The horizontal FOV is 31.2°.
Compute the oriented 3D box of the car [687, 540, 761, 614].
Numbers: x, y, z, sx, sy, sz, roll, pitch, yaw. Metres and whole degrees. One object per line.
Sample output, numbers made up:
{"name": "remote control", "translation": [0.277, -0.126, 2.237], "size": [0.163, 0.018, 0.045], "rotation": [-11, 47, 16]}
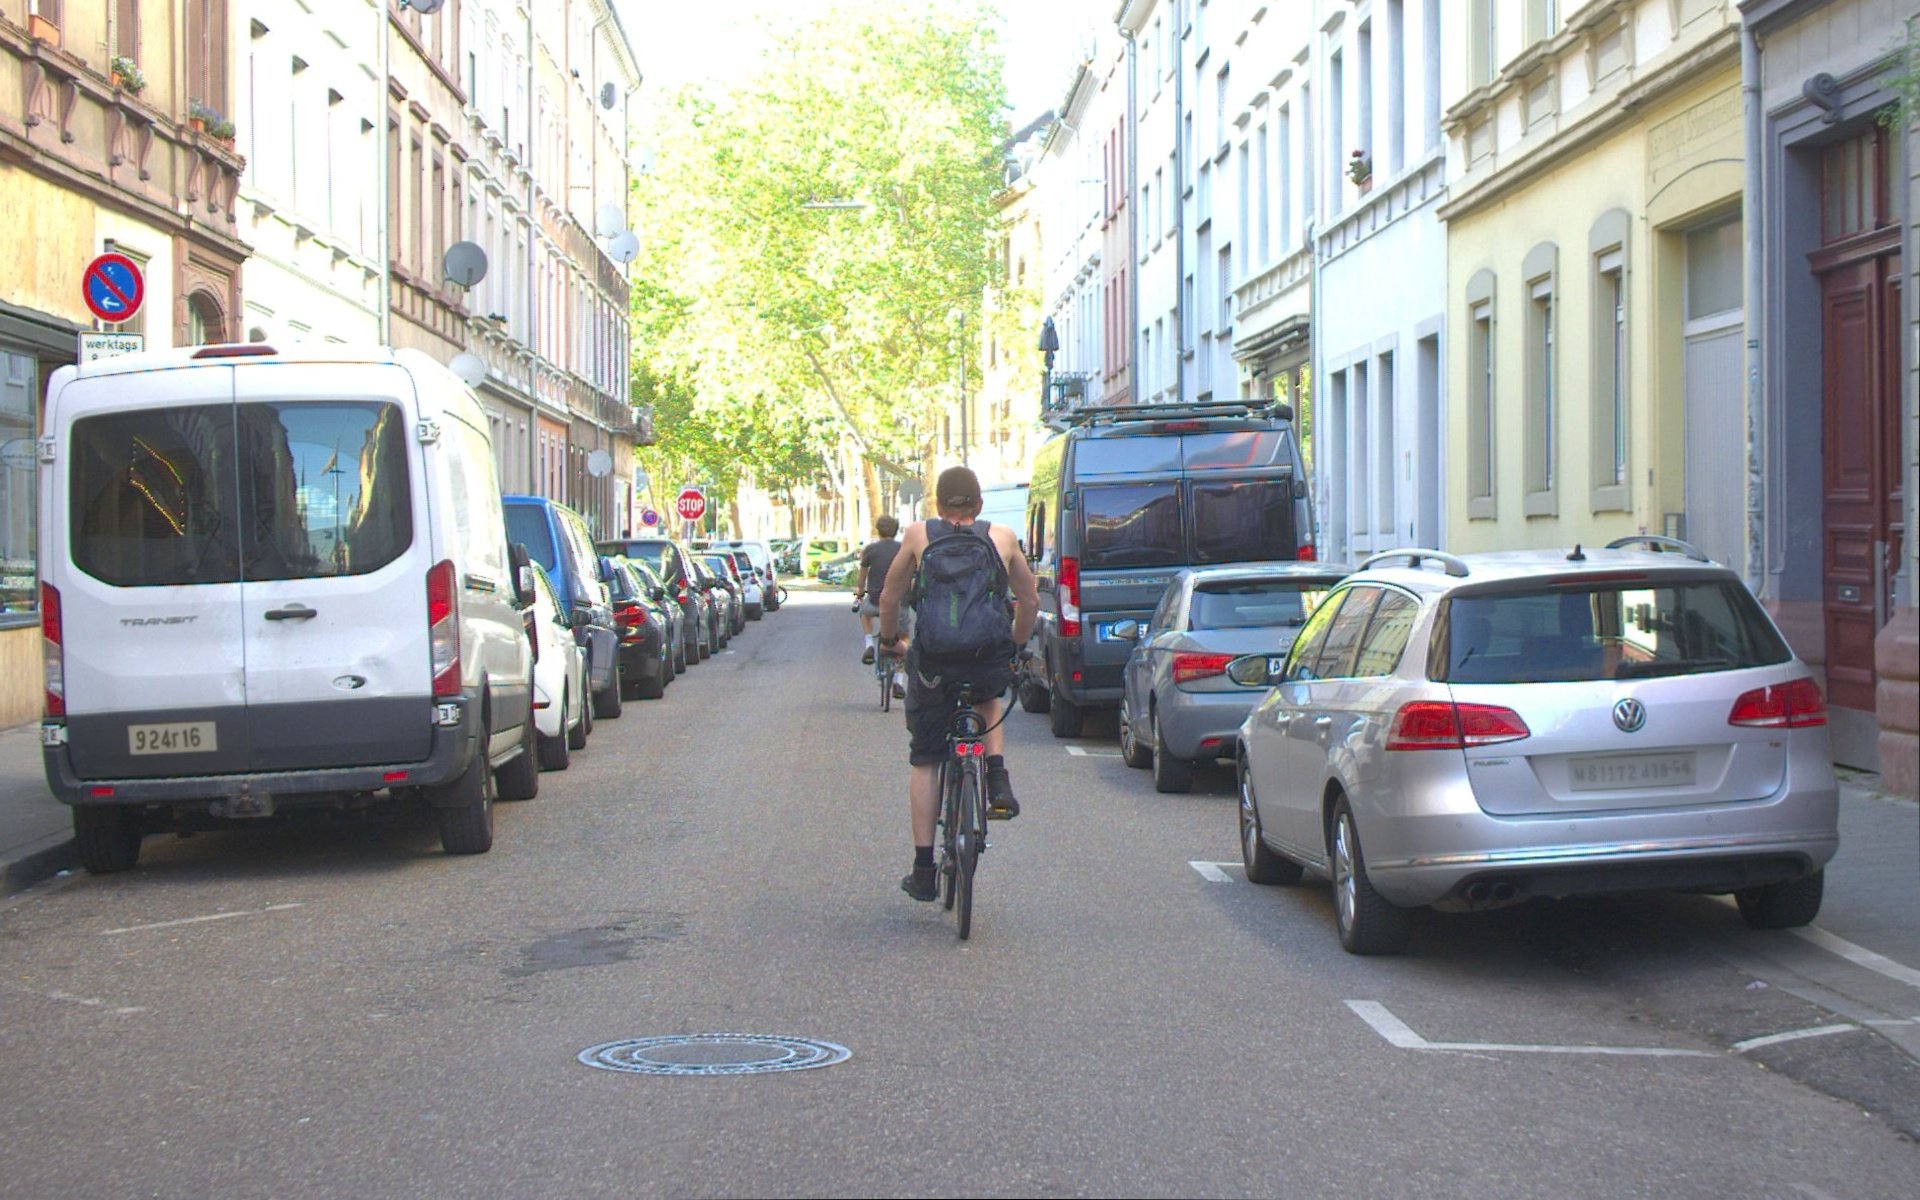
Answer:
{"name": "car", "translation": [-5.133, -0.527, 74.498], "size": [1.544, 1.545, 3.466], "rotation": [-1, 1, -5]}

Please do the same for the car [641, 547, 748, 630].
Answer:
{"name": "car", "translation": [-4.771, -0.239, 62.169], "size": [1.706, 1.409, 4.302], "rotation": [-1, 1, -2]}

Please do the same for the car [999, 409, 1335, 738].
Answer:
{"name": "car", "translation": [1.603, -0.260, 29.147], "size": [2.175, 2.417, 6.310], "rotation": [-2, 1, -2]}

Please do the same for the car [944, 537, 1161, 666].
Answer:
{"name": "car", "translation": [1.148, -0.027, 45.178], "size": [1.811, 1.473, 4.610], "rotation": [-4, 2, -11]}

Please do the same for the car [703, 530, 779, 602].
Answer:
{"name": "car", "translation": [-5.497, -0.876, 86.693], "size": [1.787, 1.731, 3.876], "rotation": [-1, 1, -2]}

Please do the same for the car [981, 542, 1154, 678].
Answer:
{"name": "car", "translation": [1.209, 0.072, 40.395], "size": [1.746, 1.480, 4.243], "rotation": [-1, 1, -2]}

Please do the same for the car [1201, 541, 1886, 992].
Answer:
{"name": "car", "translation": [2.172, 0.532, 14.103], "size": [1.786, 1.449, 4.548], "rotation": [-3, 1, -2]}

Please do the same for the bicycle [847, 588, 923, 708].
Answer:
{"name": "bicycle", "translation": [-0.697, 0.427, 31.658], "size": [0.664, 1.034, 1.959], "rotation": [-1, 1, -2]}

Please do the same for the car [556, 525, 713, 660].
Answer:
{"name": "car", "translation": [-4.424, -0.131, 47.157], "size": [1.801, 1.692, 4.000], "rotation": [-3, 1, -2]}

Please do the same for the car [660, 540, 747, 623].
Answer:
{"name": "car", "translation": [-4.981, -0.380, 67.125], "size": [1.604, 1.525, 3.379], "rotation": [-2, 1, -3]}

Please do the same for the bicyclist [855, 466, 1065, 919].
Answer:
{"name": "bicyclist", "translation": [-0.018, 0.336, 13.364], "size": [0.740, 1.673, 1.117], "rotation": [1, 1, -2]}

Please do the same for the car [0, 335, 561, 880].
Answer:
{"name": "car", "translation": [-3.496, -0.022, 18.800], "size": [2.168, 2.443, 5.922], "rotation": [-2, 1, -3]}

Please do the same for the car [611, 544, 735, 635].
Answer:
{"name": "car", "translation": [-4.734, -0.193, 57.109], "size": [1.674, 1.425, 3.888], "rotation": [-1, 1, 1]}

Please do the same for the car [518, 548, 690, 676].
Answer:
{"name": "car", "translation": [-4.215, 0.105, 41.202], "size": [1.736, 1.422, 4.000], "rotation": [-1, 1, -2]}

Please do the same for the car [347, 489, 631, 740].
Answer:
{"name": "car", "translation": [-3.935, 0.070, 29.447], "size": [1.827, 1.885, 4.614], "rotation": [-3, 1, -2]}

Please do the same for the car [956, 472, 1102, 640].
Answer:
{"name": "car", "translation": [1.072, -0.734, 55.666], "size": [2.204, 2.542, 6.036], "rotation": [-1, 1, 0]}

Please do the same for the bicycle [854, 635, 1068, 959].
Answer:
{"name": "bicycle", "translation": [-0.028, 0.721, 13.380], "size": [0.740, 1.097, 2.042], "rotation": [1, 1, -2]}

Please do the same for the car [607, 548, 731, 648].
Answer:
{"name": "car", "translation": [-4.382, -0.056, 52.140], "size": [1.592, 1.435, 3.654], "rotation": [-1, 1, -1]}

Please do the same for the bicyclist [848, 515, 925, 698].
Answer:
{"name": "bicyclist", "translation": [-0.679, 0.048, 31.687], "size": [0.669, 1.653, 0.877], "rotation": [-1, 1, -2]}

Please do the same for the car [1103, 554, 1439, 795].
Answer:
{"name": "car", "translation": [1.966, 0.423, 22.856], "size": [1.747, 1.439, 4.172], "rotation": [0, 1, -2]}

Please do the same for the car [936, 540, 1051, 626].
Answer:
{"name": "car", "translation": [0.575, -0.331, 62.194], "size": [1.731, 1.465, 4.022], "rotation": [-1, 1, -4]}

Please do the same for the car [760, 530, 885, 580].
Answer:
{"name": "car", "translation": [-5.048, -1.663, 125.914], "size": [4.468, 1.753, 1.867], "rotation": [-1, 1, -6]}

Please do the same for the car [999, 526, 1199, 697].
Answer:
{"name": "car", "translation": [1.378, 0.075, 35.646], "size": [1.693, 1.602, 4.375], "rotation": [-2, 1, -2]}

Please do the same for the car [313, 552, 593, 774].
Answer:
{"name": "car", "translation": [-3.589, 0.390, 24.862], "size": [1.645, 1.442, 3.840], "rotation": [-1, 1, -3]}

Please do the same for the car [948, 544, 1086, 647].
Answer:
{"name": "car", "translation": [0.795, -0.097, 50.224], "size": [1.725, 1.424, 3.833], "rotation": [-1, 1, -3]}

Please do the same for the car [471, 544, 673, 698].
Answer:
{"name": "car", "translation": [-4.008, 0.166, 36.144], "size": [1.861, 1.435, 4.646], "rotation": [-1, 2, -4]}

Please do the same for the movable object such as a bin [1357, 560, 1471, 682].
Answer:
{"name": "movable object such as a bin", "translation": [4.153, 0.186, 31.490], "size": [0.863, 1.039, 0.708], "rotation": [-4, 1, -3]}
